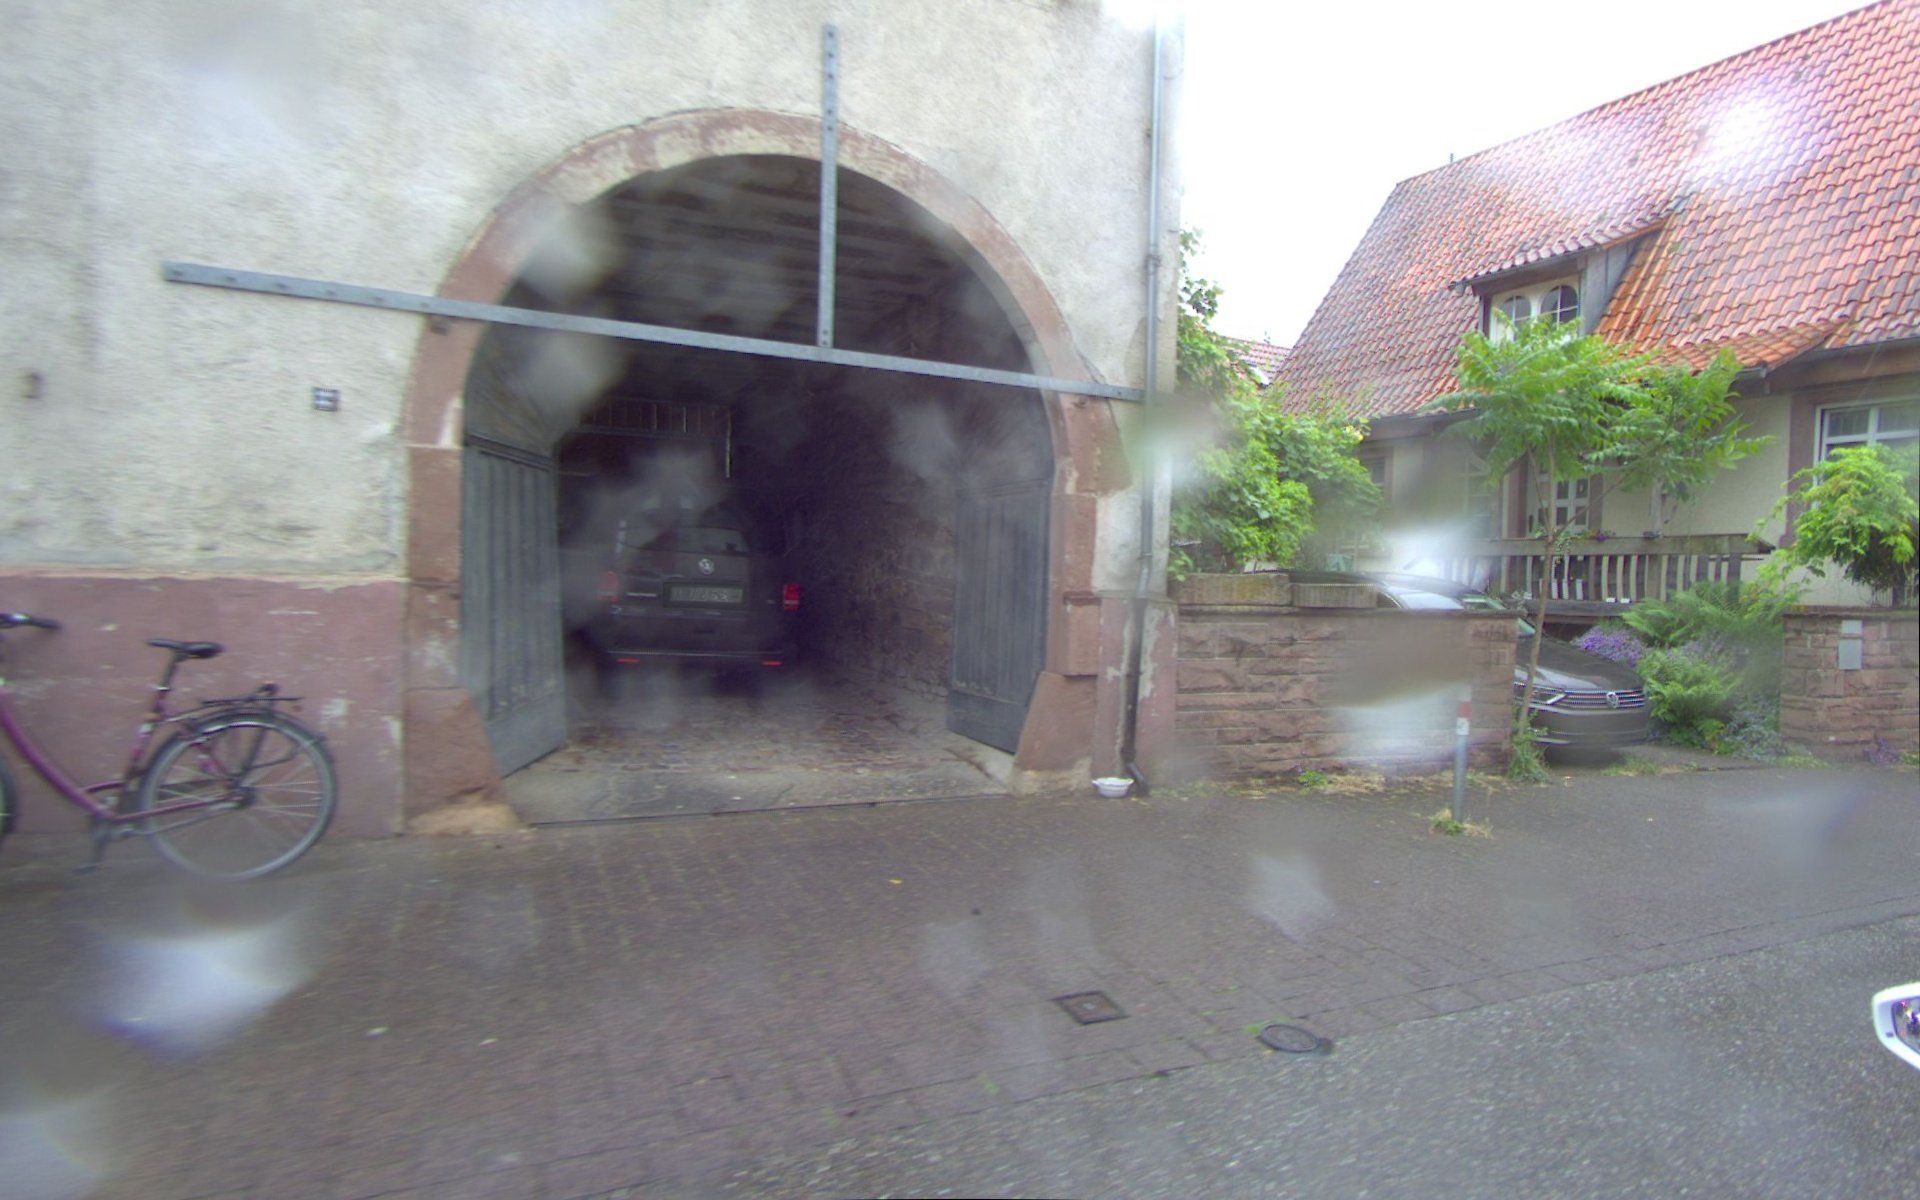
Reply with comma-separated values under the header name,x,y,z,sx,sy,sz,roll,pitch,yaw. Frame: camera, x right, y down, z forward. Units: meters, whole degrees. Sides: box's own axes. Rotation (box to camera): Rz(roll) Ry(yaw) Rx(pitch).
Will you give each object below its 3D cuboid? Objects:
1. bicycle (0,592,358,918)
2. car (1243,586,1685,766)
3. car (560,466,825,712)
name,x,y,z,sx,sy,sz,roll,pitch,yaw
bicycle,-3.521,0.582,4.036,1.850,1.194,0.480,0,4,-27
car,4.797,0.602,10.274,1.708,1.444,3.983,1,1,-18
car,-2.942,-0.283,10.279,1.860,1.959,4.211,1,6,-25
